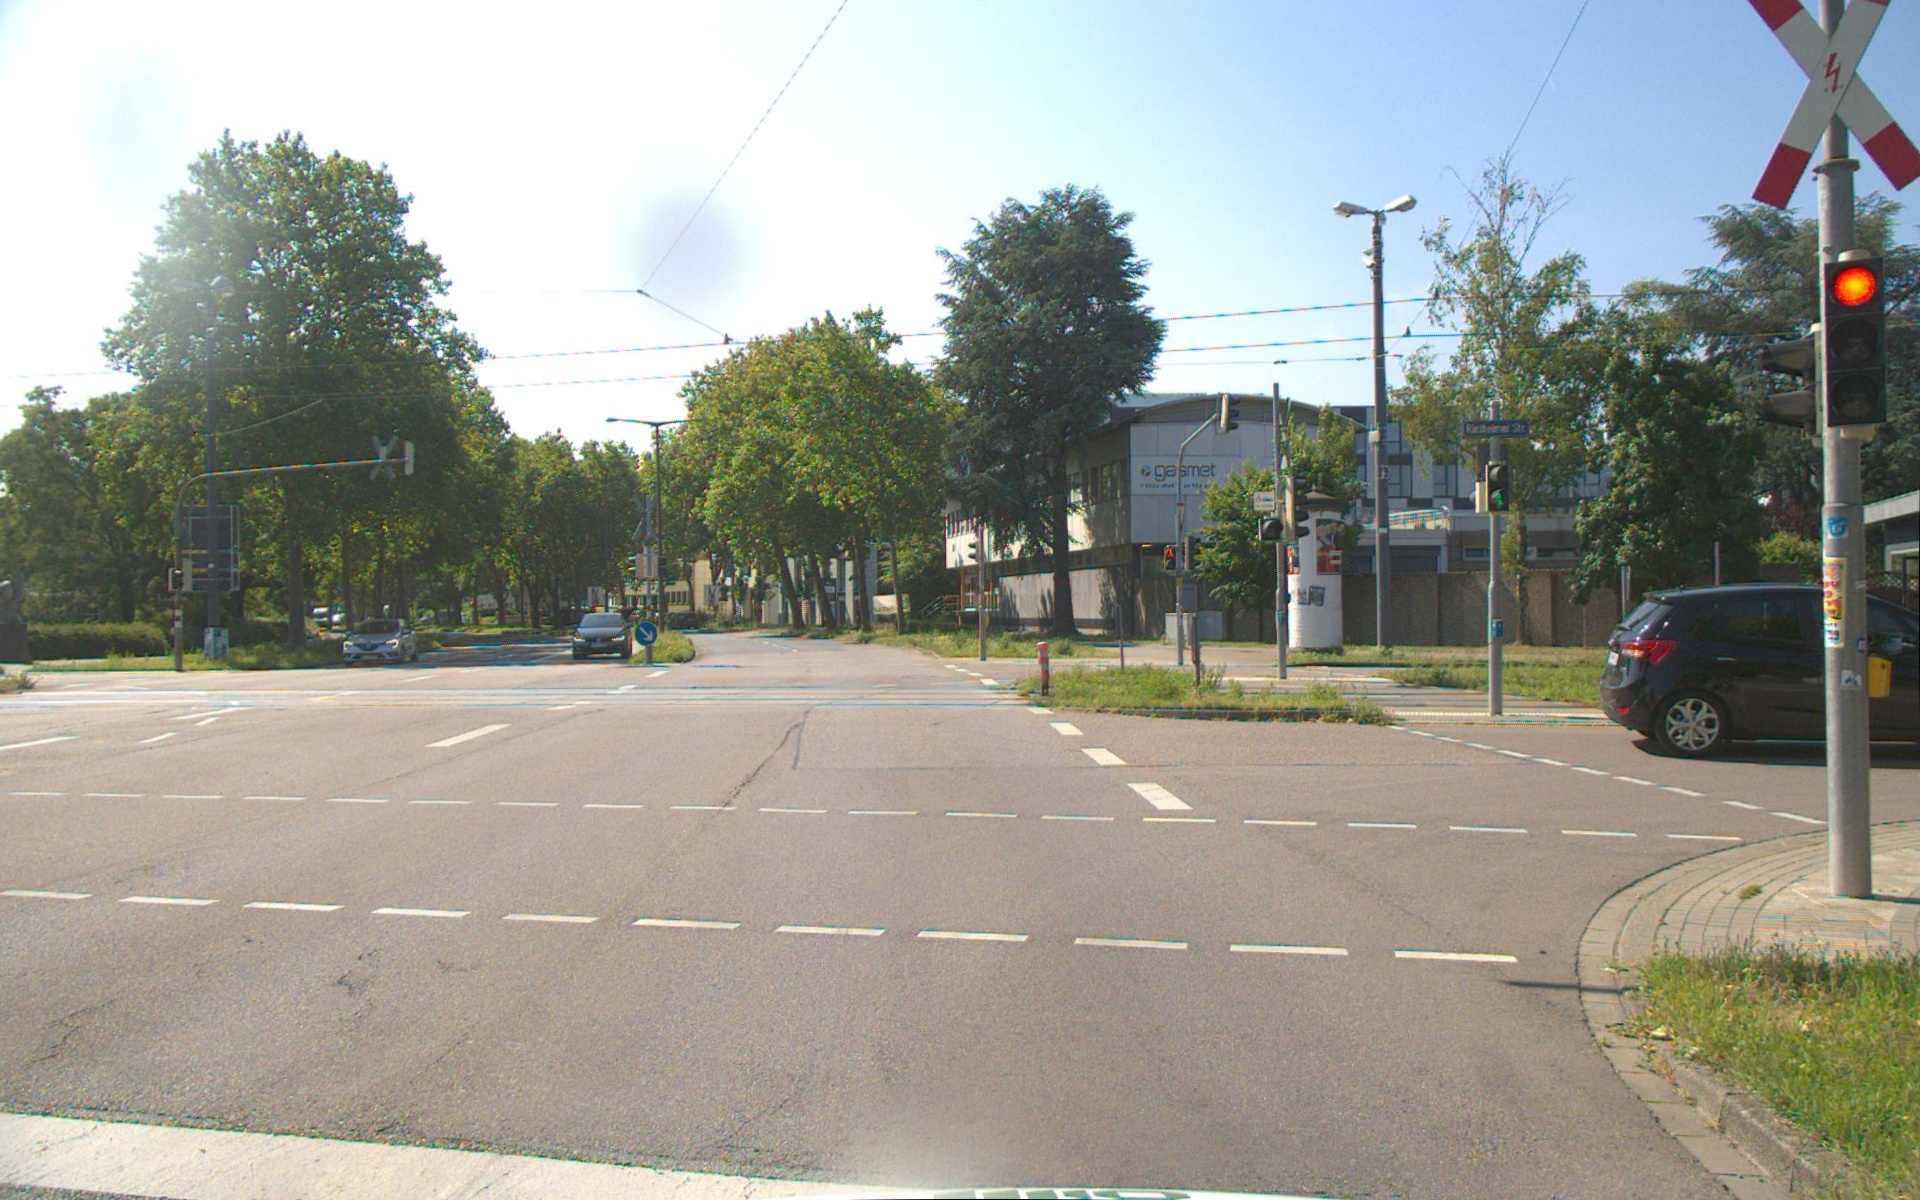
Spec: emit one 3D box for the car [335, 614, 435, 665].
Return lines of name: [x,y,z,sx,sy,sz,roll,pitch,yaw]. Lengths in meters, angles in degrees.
car: [-18.535,1.253,53.528,1.659,1.534,4.660,-1,0,-1]

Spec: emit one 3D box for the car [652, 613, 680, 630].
car: [-26.343,1.919,148.023,1.682,1.514,4.075,-1,0,-21]

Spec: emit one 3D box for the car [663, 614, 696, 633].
car: [-24.272,2.025,143.037,1.685,1.513,4.681,-2,0,-25]

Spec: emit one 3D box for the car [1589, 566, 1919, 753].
car: [8.268,0.534,15.968,3.902,1.684,1.795,0,0,14]

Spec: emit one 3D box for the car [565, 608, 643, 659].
car: [-11.441,1.052,53.407,1.659,1.534,4.128,-1,0,-1]
